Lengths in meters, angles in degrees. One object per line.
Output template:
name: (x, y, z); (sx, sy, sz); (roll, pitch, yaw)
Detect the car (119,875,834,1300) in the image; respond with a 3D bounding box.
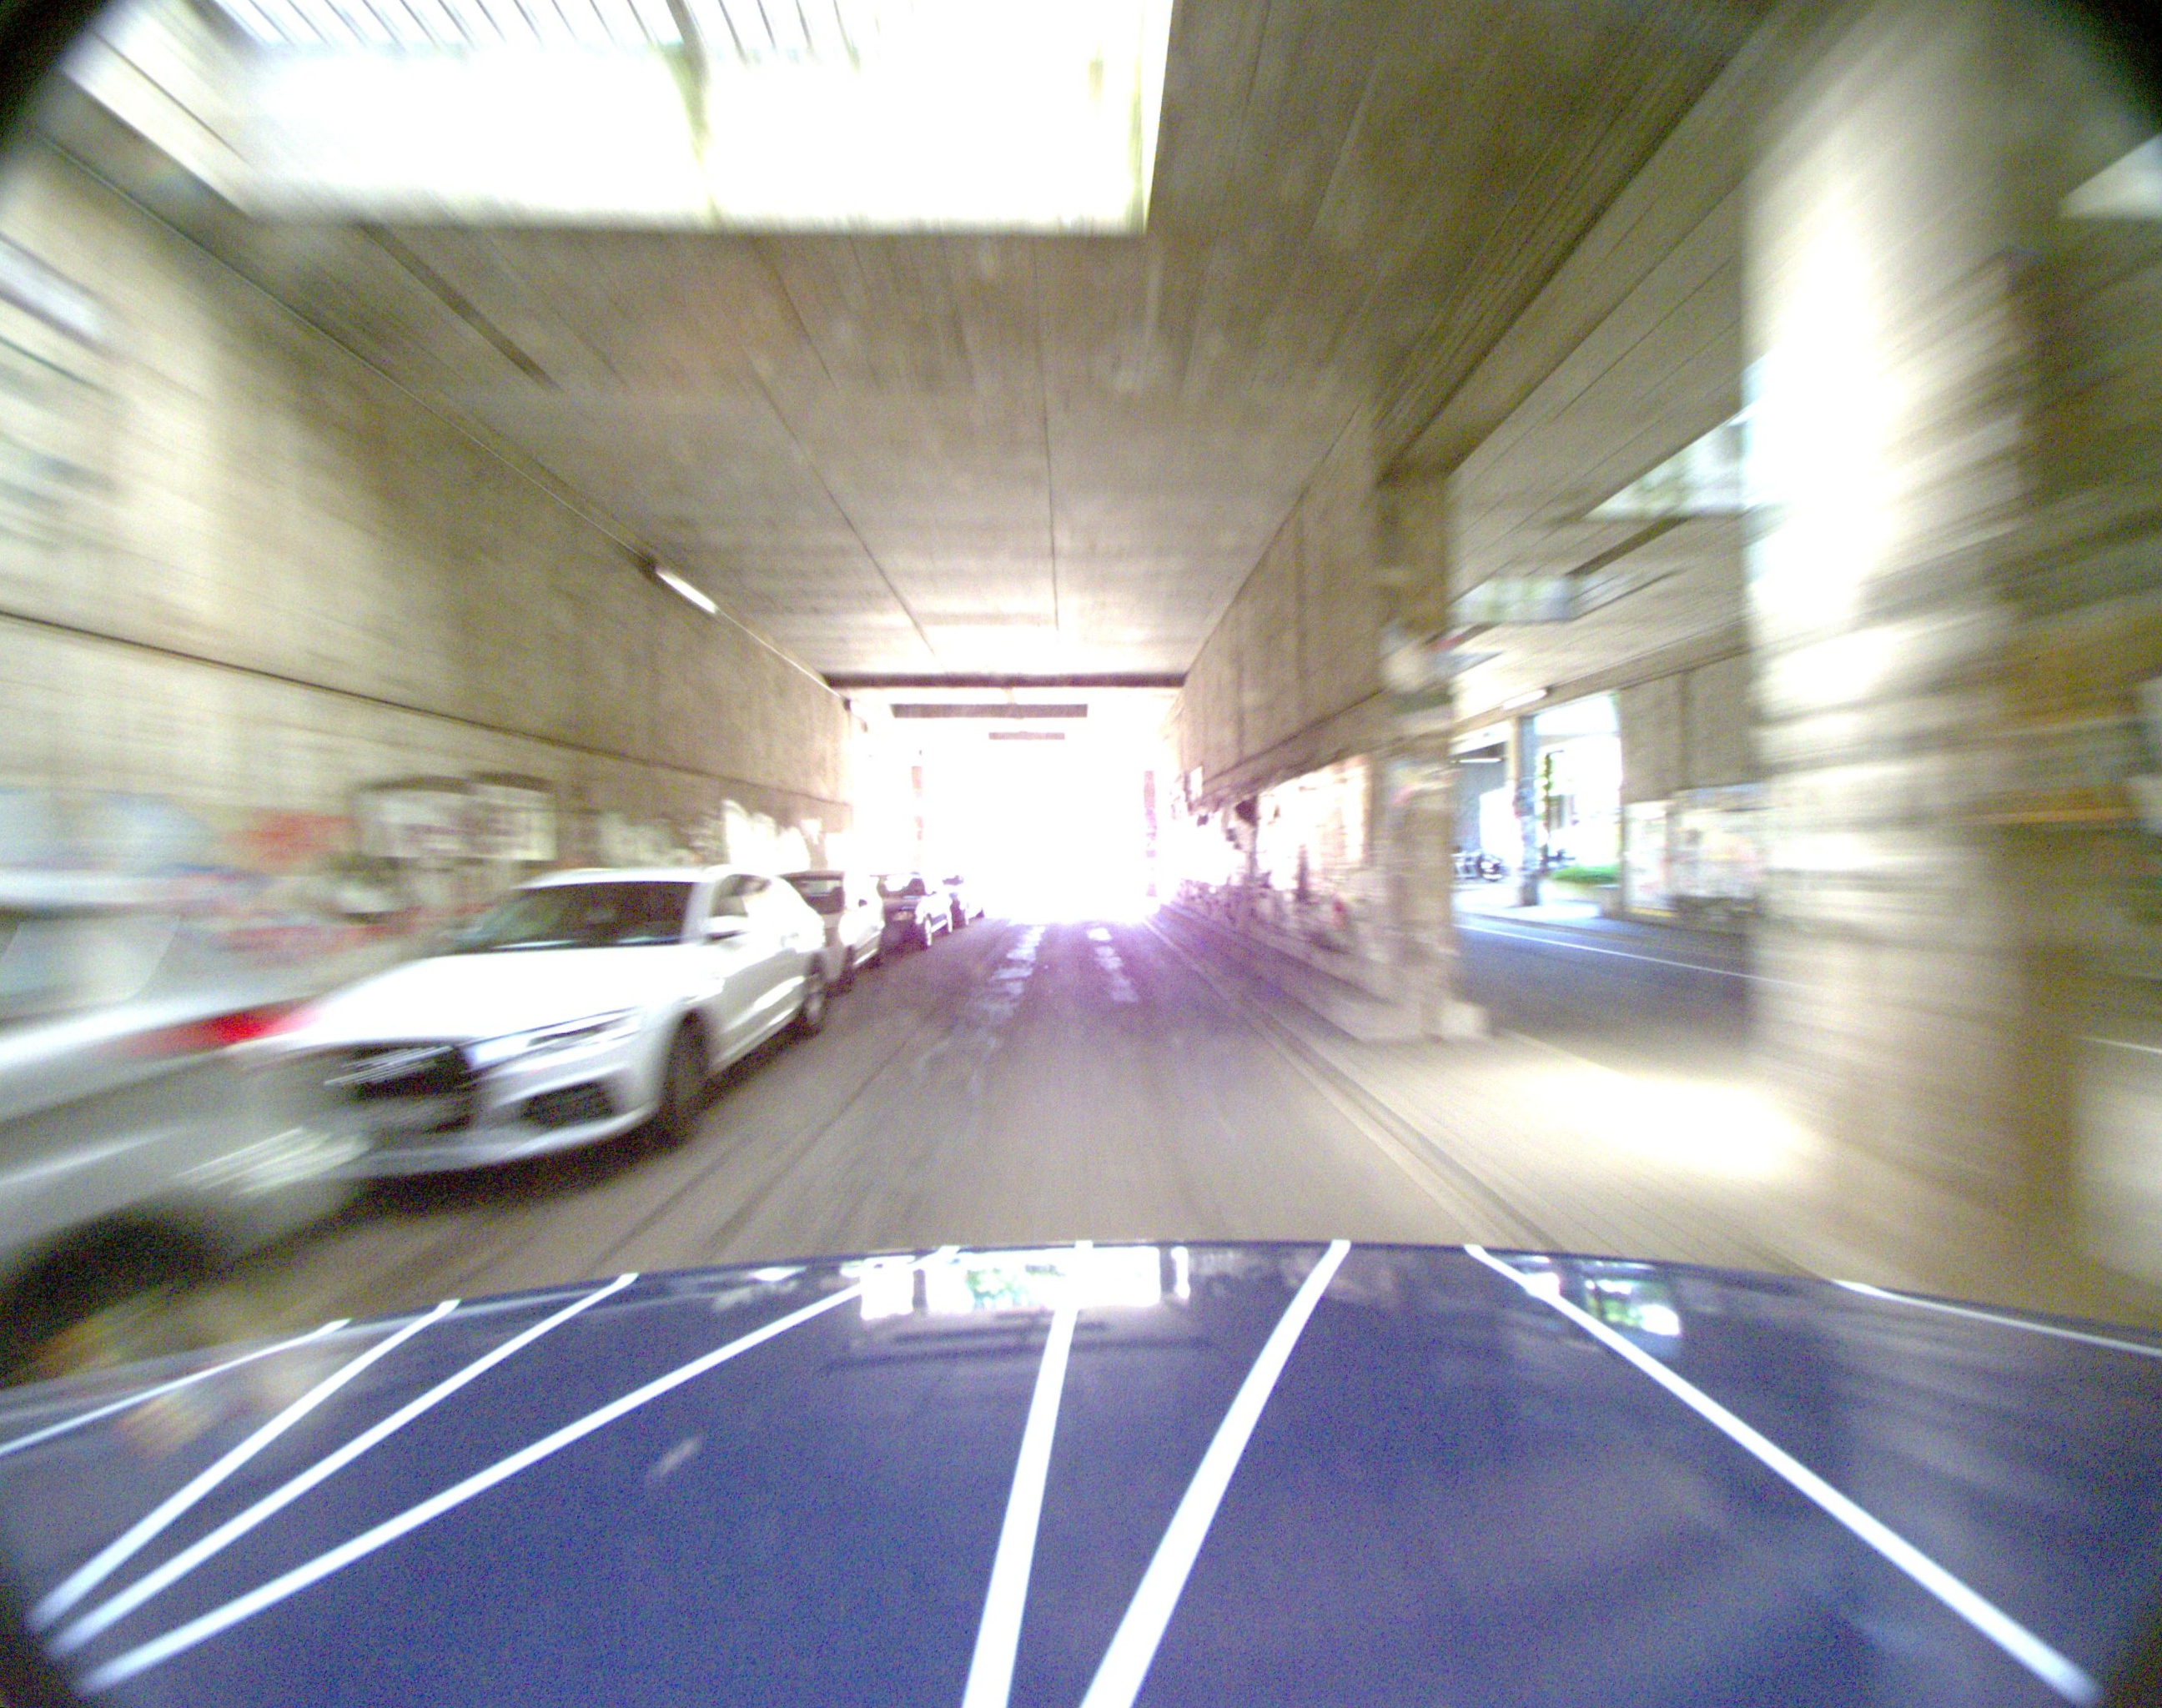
car: (-3.147, 1.015, 5.227); (1.734, 1.537, 4.154); (-1, 1, -4)

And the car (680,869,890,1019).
car: (-3.668, 1.014, 10.106); (1.608, 1.479, 3.635); (-1, 1, -5)

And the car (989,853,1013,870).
car: (-7.455, 0.720, 70.613); (1.779, 1.432, 3.997); (2, -1, -11)

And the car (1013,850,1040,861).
car: (-8.306, 0.183, 115.451); (4.000, 1.576, 1.817); (-1, -2, -10)

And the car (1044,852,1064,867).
car: (-3.044, 0.599, 85.022); (1.695, 1.548, 3.818); (-1, 1, -10)

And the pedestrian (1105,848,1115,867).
pedestrian: (2.396, 0.263, 62.821); (0.632, 1.567, 0.532); (-1, 1, 24)

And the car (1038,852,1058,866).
car: (-3.911, 0.555, 89.534); (1.786, 1.548, 3.818); (-1, 1, -10)

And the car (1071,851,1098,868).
car: (0.238, 0.472, 67.259); (1.693, 1.454, 3.996); (-1, 1, -10)

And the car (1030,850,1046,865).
car: (-5.690, 0.427, 100.588); (1.777, 1.871, 3.997); (-1, 0, -9)

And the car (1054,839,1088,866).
car: (-1.000, -0.156, 73.273); (2.221, 2.437, 5.089); (-2, 1, -12)

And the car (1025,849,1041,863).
car: (-6.804, 0.282, 107.262); (1.777, 1.871, 3.996); (-1, 1, -9)

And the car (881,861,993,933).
car: (-3.525, 1.007, 19.503); (1.856, 1.424, 4.606); (-3, 1, 1)

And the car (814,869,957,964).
car: (-3.560, 1.071, 14.618); (1.766, 1.402, 4.062); (-1, 1, -1)

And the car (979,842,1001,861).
car: (-10.138, -0.269, 84.410); (1.997, 2.017, 4.300); (-1, 0, -11)
